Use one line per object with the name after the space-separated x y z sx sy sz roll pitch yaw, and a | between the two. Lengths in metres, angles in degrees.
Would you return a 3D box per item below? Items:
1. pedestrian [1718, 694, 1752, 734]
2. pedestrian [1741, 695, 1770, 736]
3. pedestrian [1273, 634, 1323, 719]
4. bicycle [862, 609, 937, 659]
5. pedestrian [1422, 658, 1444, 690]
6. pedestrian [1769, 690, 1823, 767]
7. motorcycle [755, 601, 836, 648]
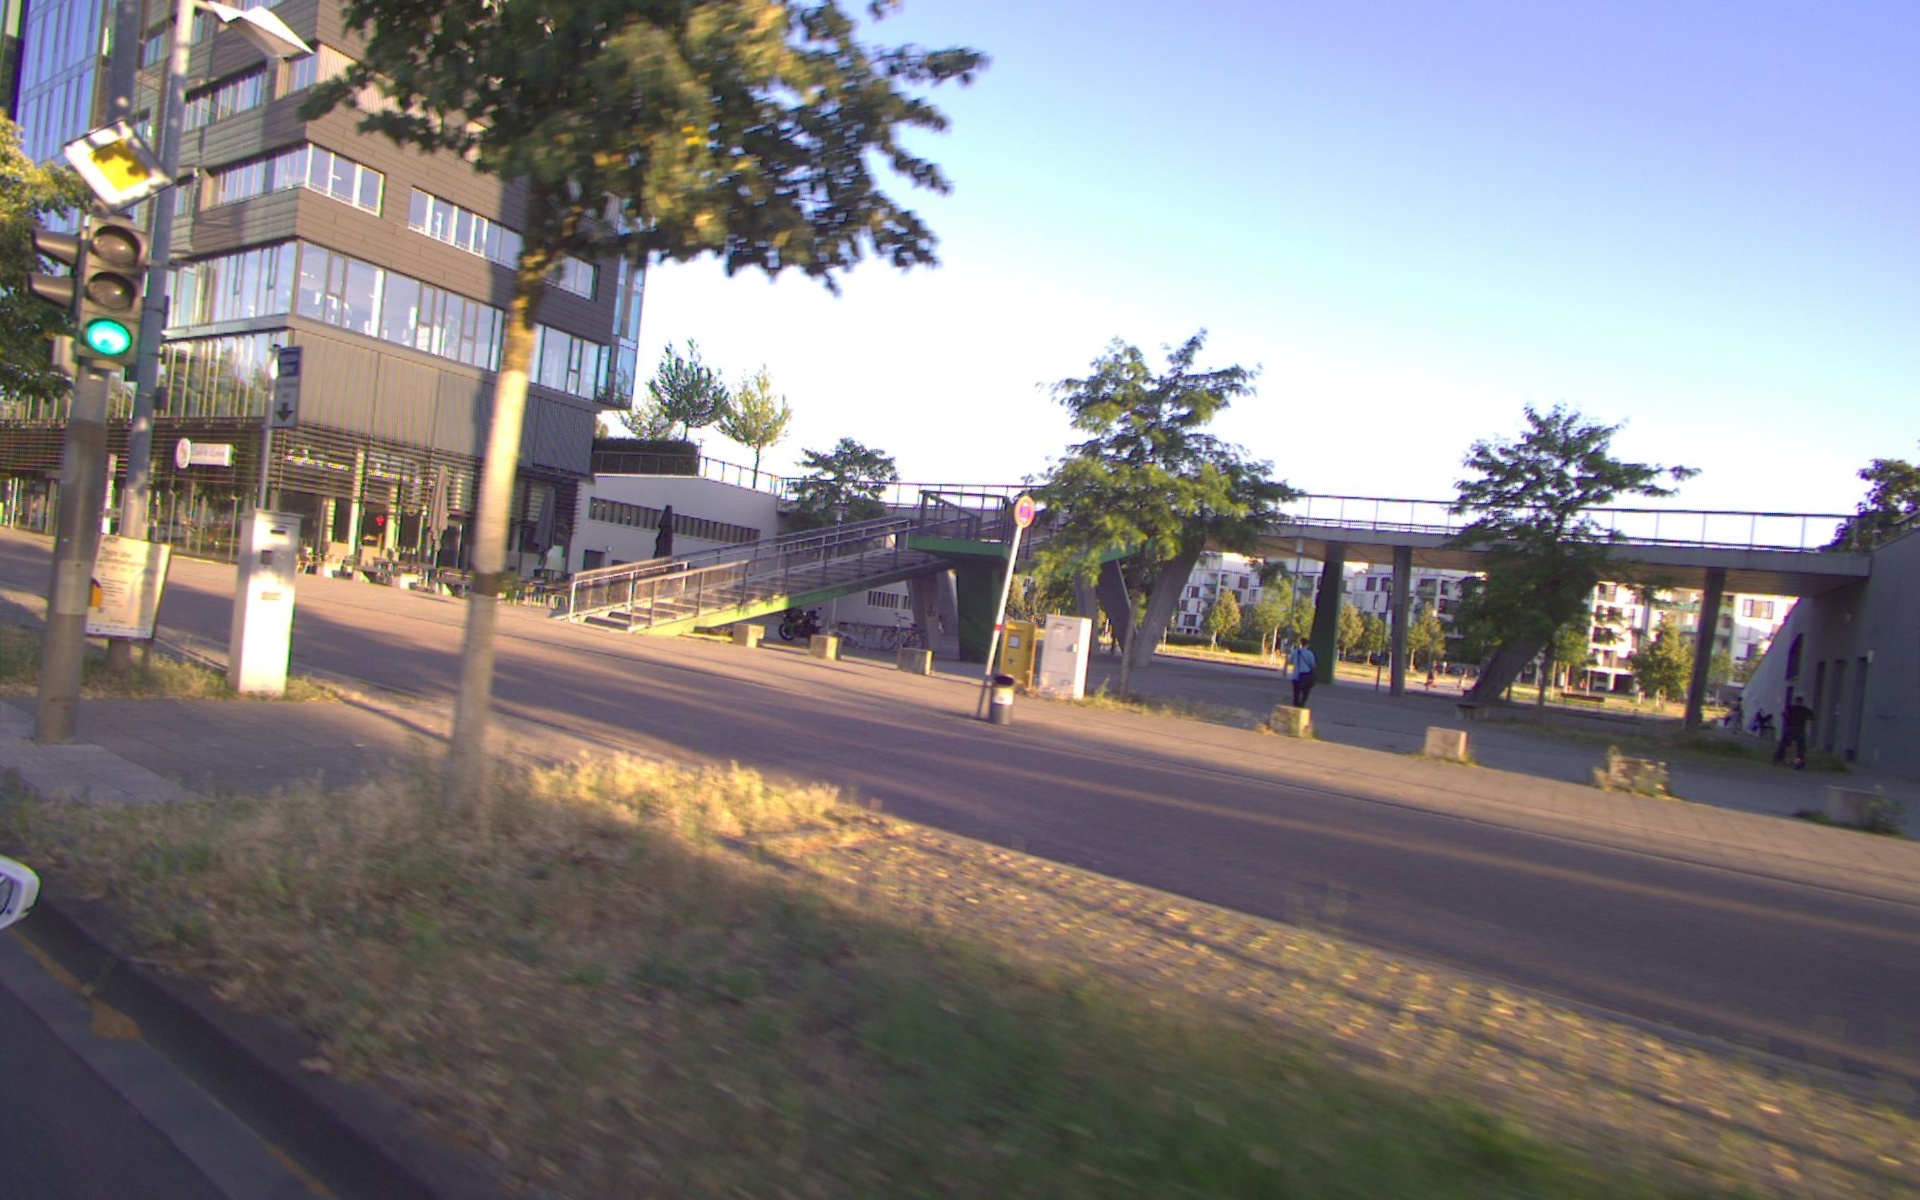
34.087 5.008 44.244 0.783 1.614 0.717 6 1 7 | pedestrian
33.790 4.909 42.737 0.786 1.614 0.714 7 1 38 | pedestrian
7.989 1.795 23.758 0.824 1.867 0.898 7 1 26 | pedestrian
-1.875 1.040 30.948 2.416 1.251 0.729 6 0 43 | bicycle
32.283 5.069 68.679 1.000 2.039 1.140 7 0 35 | pedestrian
19.909 3.034 23.984 0.752 1.703 0.765 7 1 34 | pedestrian
-4.752 0.678 28.949 2.655 1.056 0.729 6 0 43 | motorcycle
